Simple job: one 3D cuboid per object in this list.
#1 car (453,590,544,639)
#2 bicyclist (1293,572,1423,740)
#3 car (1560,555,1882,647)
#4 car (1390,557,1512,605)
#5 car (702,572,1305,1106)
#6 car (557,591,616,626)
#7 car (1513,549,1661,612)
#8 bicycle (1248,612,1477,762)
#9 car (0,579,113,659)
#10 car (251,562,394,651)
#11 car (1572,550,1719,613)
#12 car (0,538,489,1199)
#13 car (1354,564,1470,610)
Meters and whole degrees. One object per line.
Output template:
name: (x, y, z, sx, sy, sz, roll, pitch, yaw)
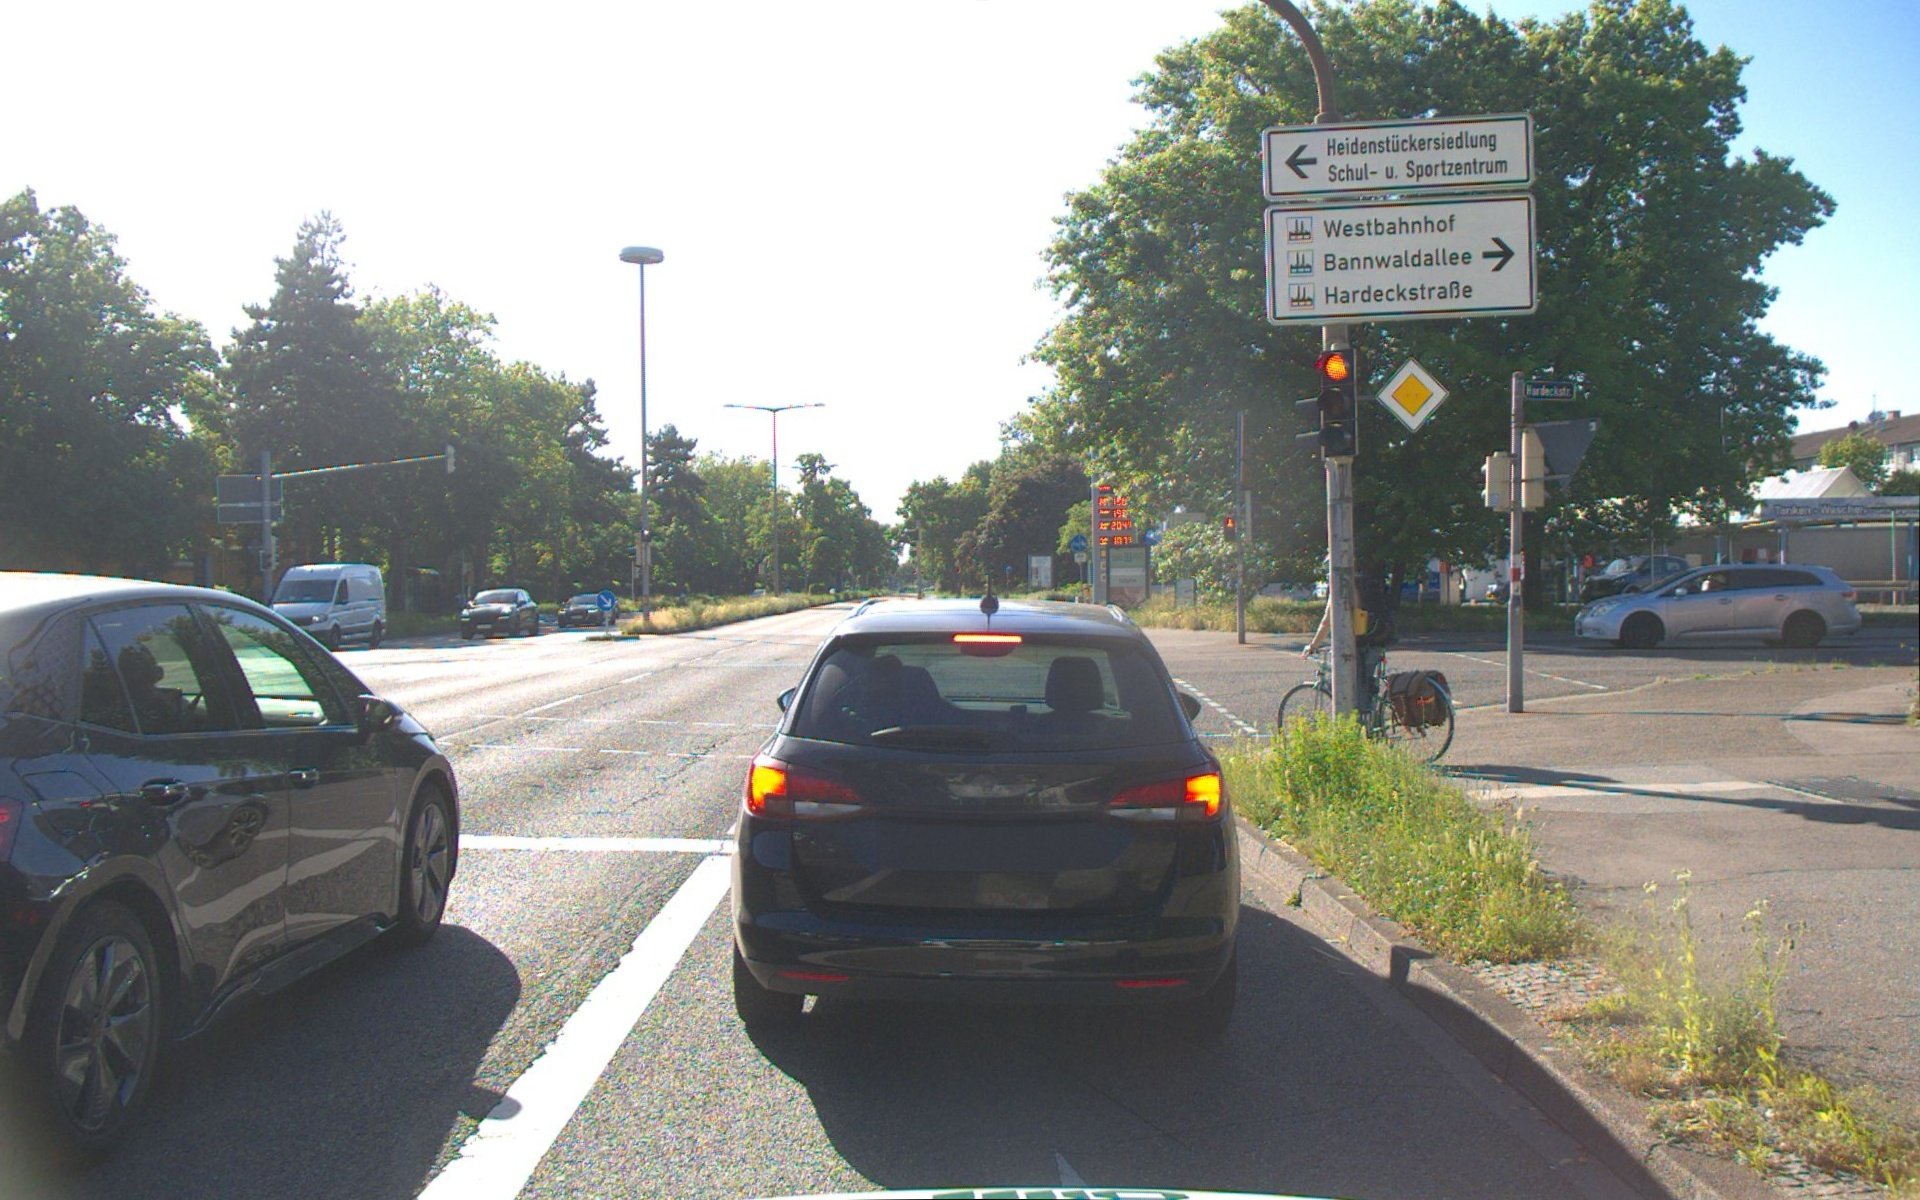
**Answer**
car: (-16.321, 0.469, 58.691, 1.953, 1.629, 4.615, -1, 0, -1)
bicyclist: (3.214, 0.452, 13.376, 0.534, 1.299, 0.816, -2, -2, -44)
car: (13.535, 0.026, 29.708, 4.897, 1.512, 2.002, -1, 0, 11)
car: (16.905, -0.663, 56.990, 3.837, 1.544, 1.732, -2, 0, -24)
car: (0.099, 0.690, 6.842, 1.721, 1.521, 4.206, 0, 0, -1)
car: (-16.712, 0.357, 74.122, 1.740, 1.488, 4.164, -1, 0, -1)
car: (18.965, -0.599, 50.021, 3.935, 1.780, 1.985, -1, 1, -24)
bicycle: (3.223, 0.703, 13.375, 0.533, 1.117, 1.748, -2, -2, -44)
car: (-19.269, 0.367, 34.036, 1.652, 1.535, 4.003, -1, 0, -1)
car: (-19.372, 0.163, 50.612, 2.057, 2.536, 6.003, -1, 0, -1)
car: (19.985, -0.545, 48.201, 3.934, 1.709, 1.732, -2, 0, -24)
car: (-3.001, 0.665, 5.610, 1.650, 1.608, 4.206, 0, 0, -1)
car: (16.428, -0.476, 60.065, 3.837, 1.544, 1.732, -2, 0, -24)
